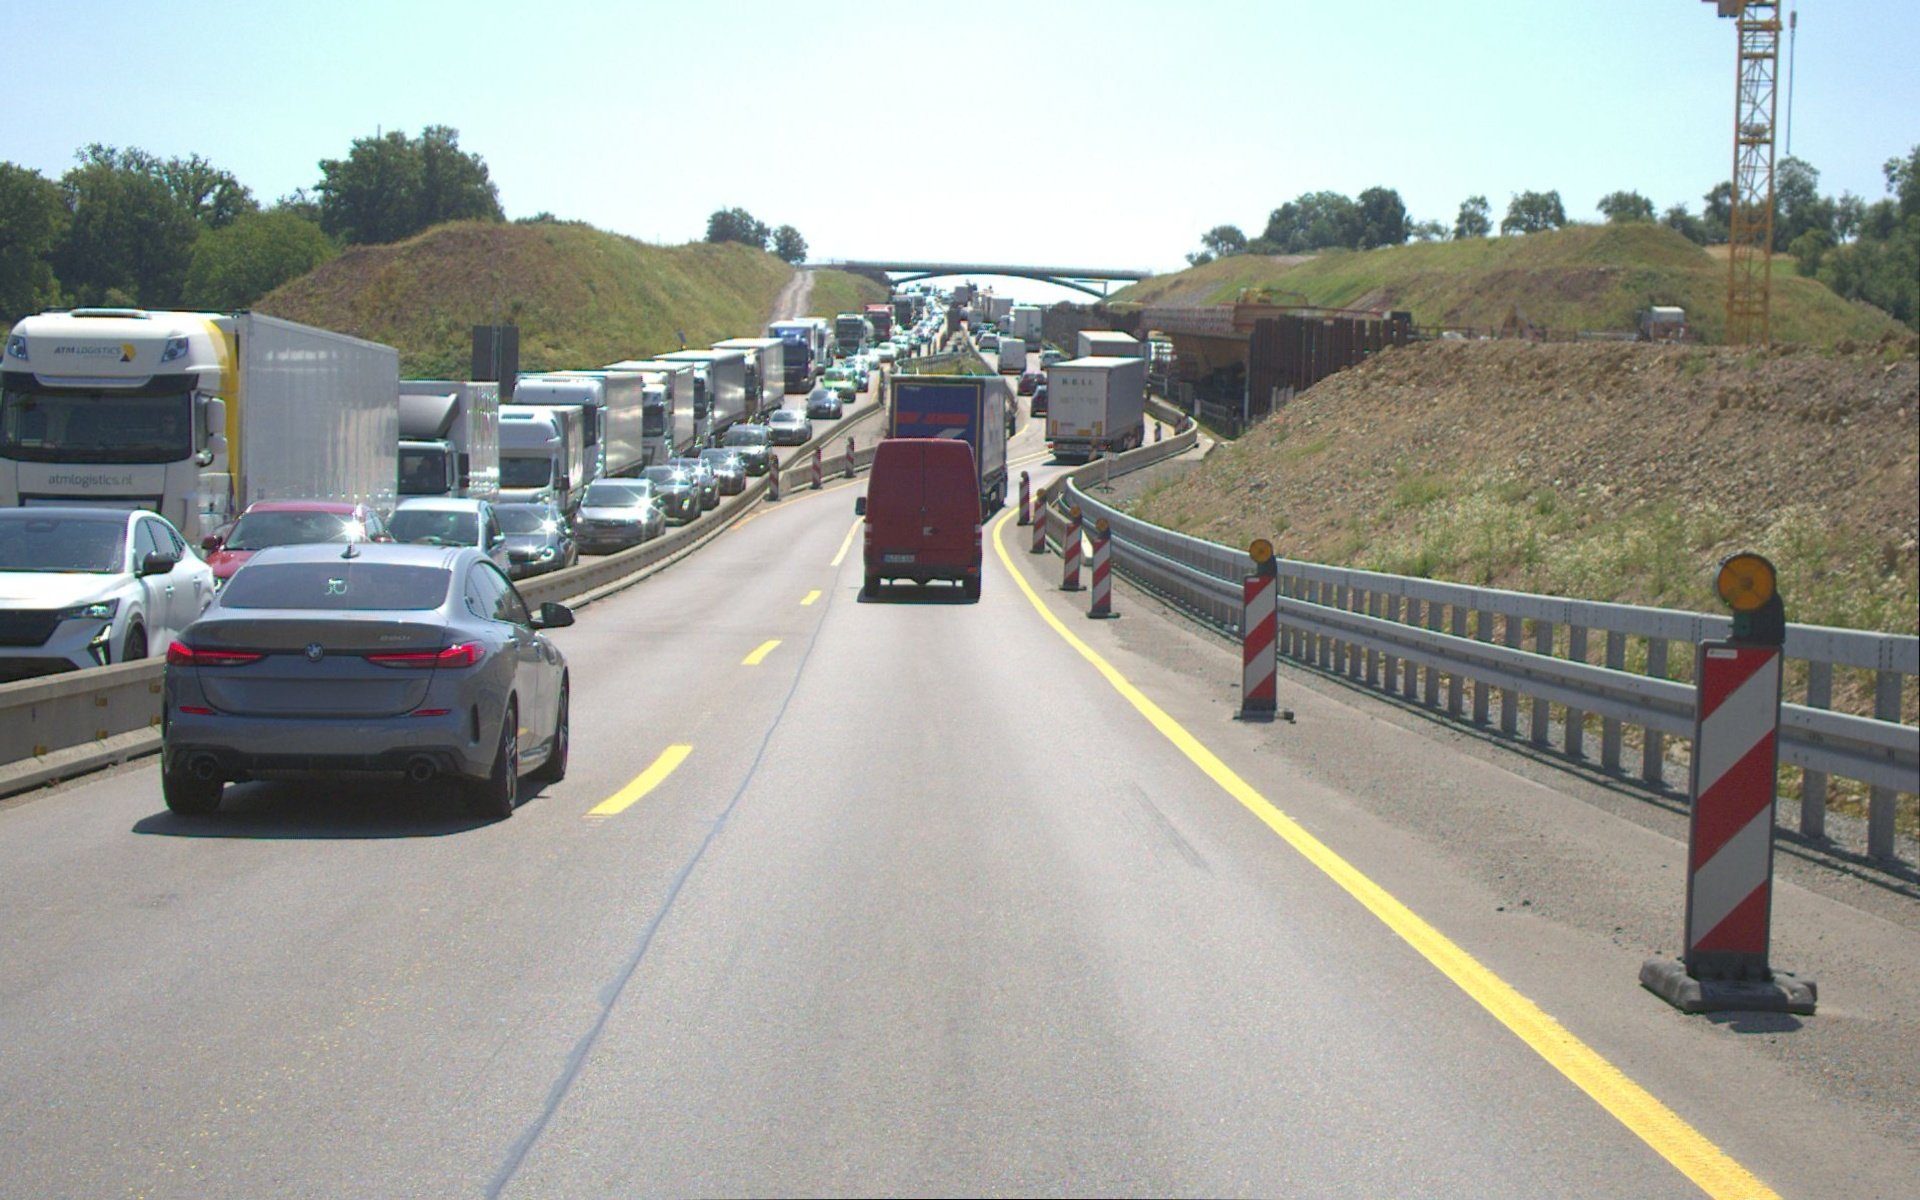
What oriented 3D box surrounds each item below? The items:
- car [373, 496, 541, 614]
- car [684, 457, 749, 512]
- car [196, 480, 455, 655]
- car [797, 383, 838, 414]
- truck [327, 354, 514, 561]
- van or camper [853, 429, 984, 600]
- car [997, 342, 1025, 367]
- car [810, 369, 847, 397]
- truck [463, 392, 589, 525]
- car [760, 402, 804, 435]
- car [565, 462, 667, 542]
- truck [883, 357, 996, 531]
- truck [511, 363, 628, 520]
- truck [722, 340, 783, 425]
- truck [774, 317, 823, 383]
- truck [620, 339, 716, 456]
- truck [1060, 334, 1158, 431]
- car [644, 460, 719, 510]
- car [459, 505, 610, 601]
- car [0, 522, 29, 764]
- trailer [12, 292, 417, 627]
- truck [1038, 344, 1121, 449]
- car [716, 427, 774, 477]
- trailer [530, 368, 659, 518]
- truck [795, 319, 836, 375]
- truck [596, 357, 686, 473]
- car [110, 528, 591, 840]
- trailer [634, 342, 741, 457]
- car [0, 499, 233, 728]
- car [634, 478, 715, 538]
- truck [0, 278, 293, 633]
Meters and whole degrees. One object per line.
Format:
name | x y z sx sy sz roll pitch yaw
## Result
car | -6.994 -0.649 48.123 1.827 1.568 4.000 1 1 -1
car | -8.055 -3.806 113.960 1.993 1.777 4.001 1 1 -2
car | -6.768 -0.413 37.143 1.993 1.625 4.759 2 3 -2
car | -7.368 -10.408 177.602 1.952 1.524 4.268 1 3 -1
truck | -10.726 -2.867 69.098 2.524 3.842 8.673 1 2 -1
van or camper | -0.747 -1.500 58.252 2.029 2.734 4.516 1 3 -2
car | 3.755 -18.168 254.587 1.952 1.635 4.268 1 1 -1
car | -7.568 -12.480 197.849 1.952 1.524 4.268 1 3 -1
truck | -10.637 -3.536 84.707 2.433 3.137 7.025 0 3 -2
car | -7.866 -8.004 152.109 1.747 1.404 4.001 1 3 -1
car | -7.623 -2.155 76.552 1.827 1.645 4.547 -3 1 -1
truck | -0.577 -4.387 96.594 3.020 4.676 6.933 -1 3 0
truck | -10.906 -4.466 96.526 2.551 4.216 6.531 1 3 0
truck | -9.786 -10.256 162.740 2.683 3.825 7.388 1 3 -2
truck | -9.980 -15.438 212.839 2.887 3.825 8.004 1 3 -2
truck | -11.520 -7.987 136.066 3.052 4.465 5.980 1 3 2
truck | 8.261 -11.966 190.827 5.160 4.979 13.876 -1 2 2
car | -8.393 -3.501 103.948 1.902 1.371 4.547 -2 3 -1
car | -7.129 -0.812 58.030 1.993 1.551 4.339 1 1 0
car | -6.684 0.365 18.654 1.812 1.432 5.122 2 3 0
trailer | -10.557 -2.012 50.564 2.986 4.194 13.948 1 2 -1
truck | 4.970 -8.342 141.927 3.039 4.086 7.084 1 1 5
car | -7.935 -5.485 127.129 1.993 1.776 4.001 1 3 -2
trailer | -10.976 -4.773 104.391 2.595 4.242 12.469 1 3 0
truck | -10.450 -18.256 248.490 2.887 3.825 8.004 1 3 -2
truck | -11.082 -6.401 119.917 2.782 3.856 5.462 1 1 -2
car | -3.243 0.361 19.218 1.851 1.447 4.742 1 2 0
trailer | -11.226 -8.259 142.769 3.042 4.536 12.128 1 3 2
car | -7.100 0.036 26.688 1.993 1.615 4.883 0 1 -2
car | -7.713 -2.476 93.176 1.827 1.530 4.547 2 1 -1
truck | -10.497 -1.811 43.808 2.977 4.170 5.875 1 2 -2
